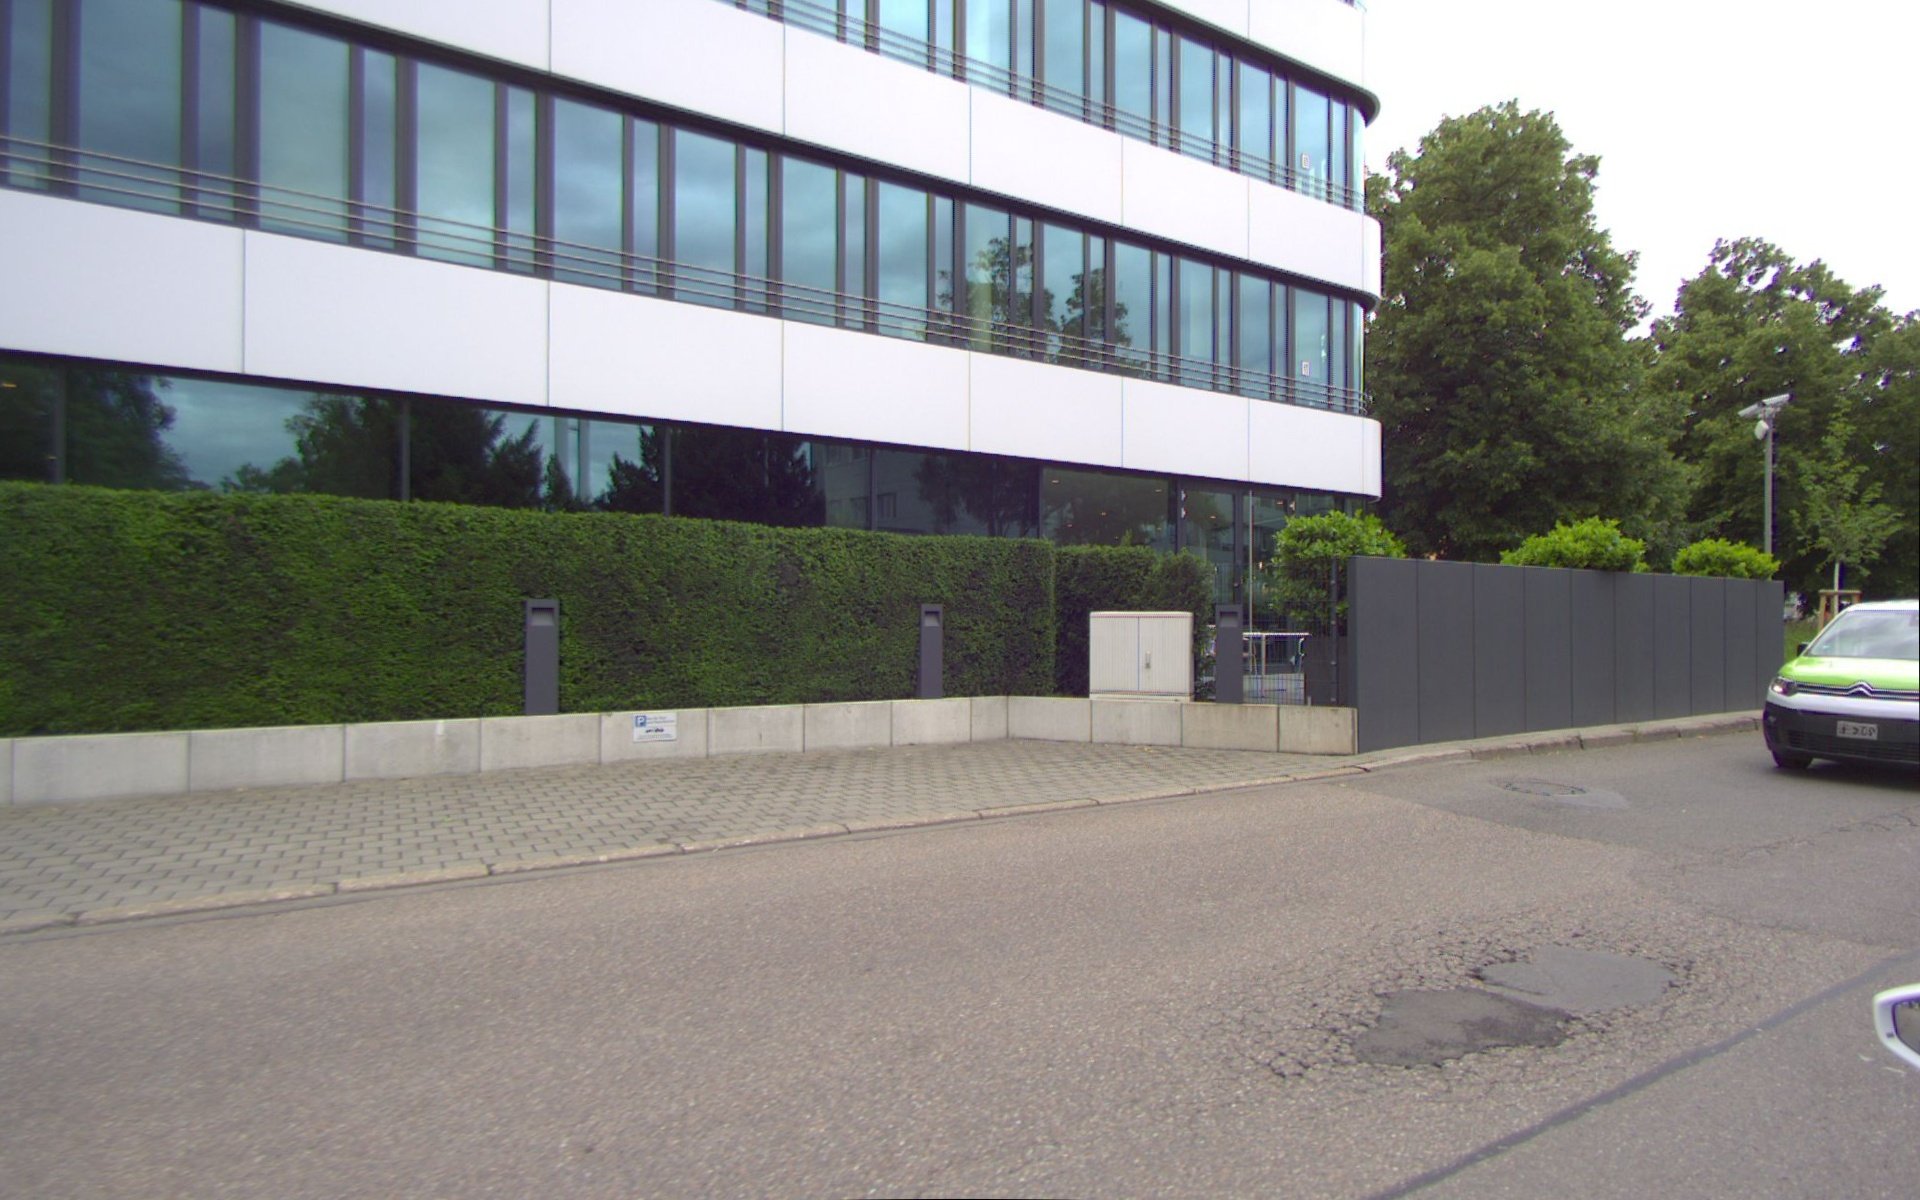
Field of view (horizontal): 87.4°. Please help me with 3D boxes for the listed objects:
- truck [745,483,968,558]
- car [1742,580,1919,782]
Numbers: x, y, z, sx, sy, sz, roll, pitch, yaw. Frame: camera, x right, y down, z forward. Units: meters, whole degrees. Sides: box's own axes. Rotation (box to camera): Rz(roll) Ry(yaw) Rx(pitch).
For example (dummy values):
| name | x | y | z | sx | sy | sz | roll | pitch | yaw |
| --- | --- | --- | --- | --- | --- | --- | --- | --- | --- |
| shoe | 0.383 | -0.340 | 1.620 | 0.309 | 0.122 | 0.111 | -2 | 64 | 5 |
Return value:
| name | x | y | z | sx | sy | sz | roll | pitch | yaw |
| --- | --- | --- | --- | --- | --- | --- | --- | --- | --- |
| truck | -4.477 | -3.433 | 45.636 | 10.161 | 2.555 | 2.950 | 1 | -1 | -39 |
| car | 10.089 | 0.746 | 10.307 | 4.154 | 1.788 | 1.800 | 1 | 0 | -29 |
